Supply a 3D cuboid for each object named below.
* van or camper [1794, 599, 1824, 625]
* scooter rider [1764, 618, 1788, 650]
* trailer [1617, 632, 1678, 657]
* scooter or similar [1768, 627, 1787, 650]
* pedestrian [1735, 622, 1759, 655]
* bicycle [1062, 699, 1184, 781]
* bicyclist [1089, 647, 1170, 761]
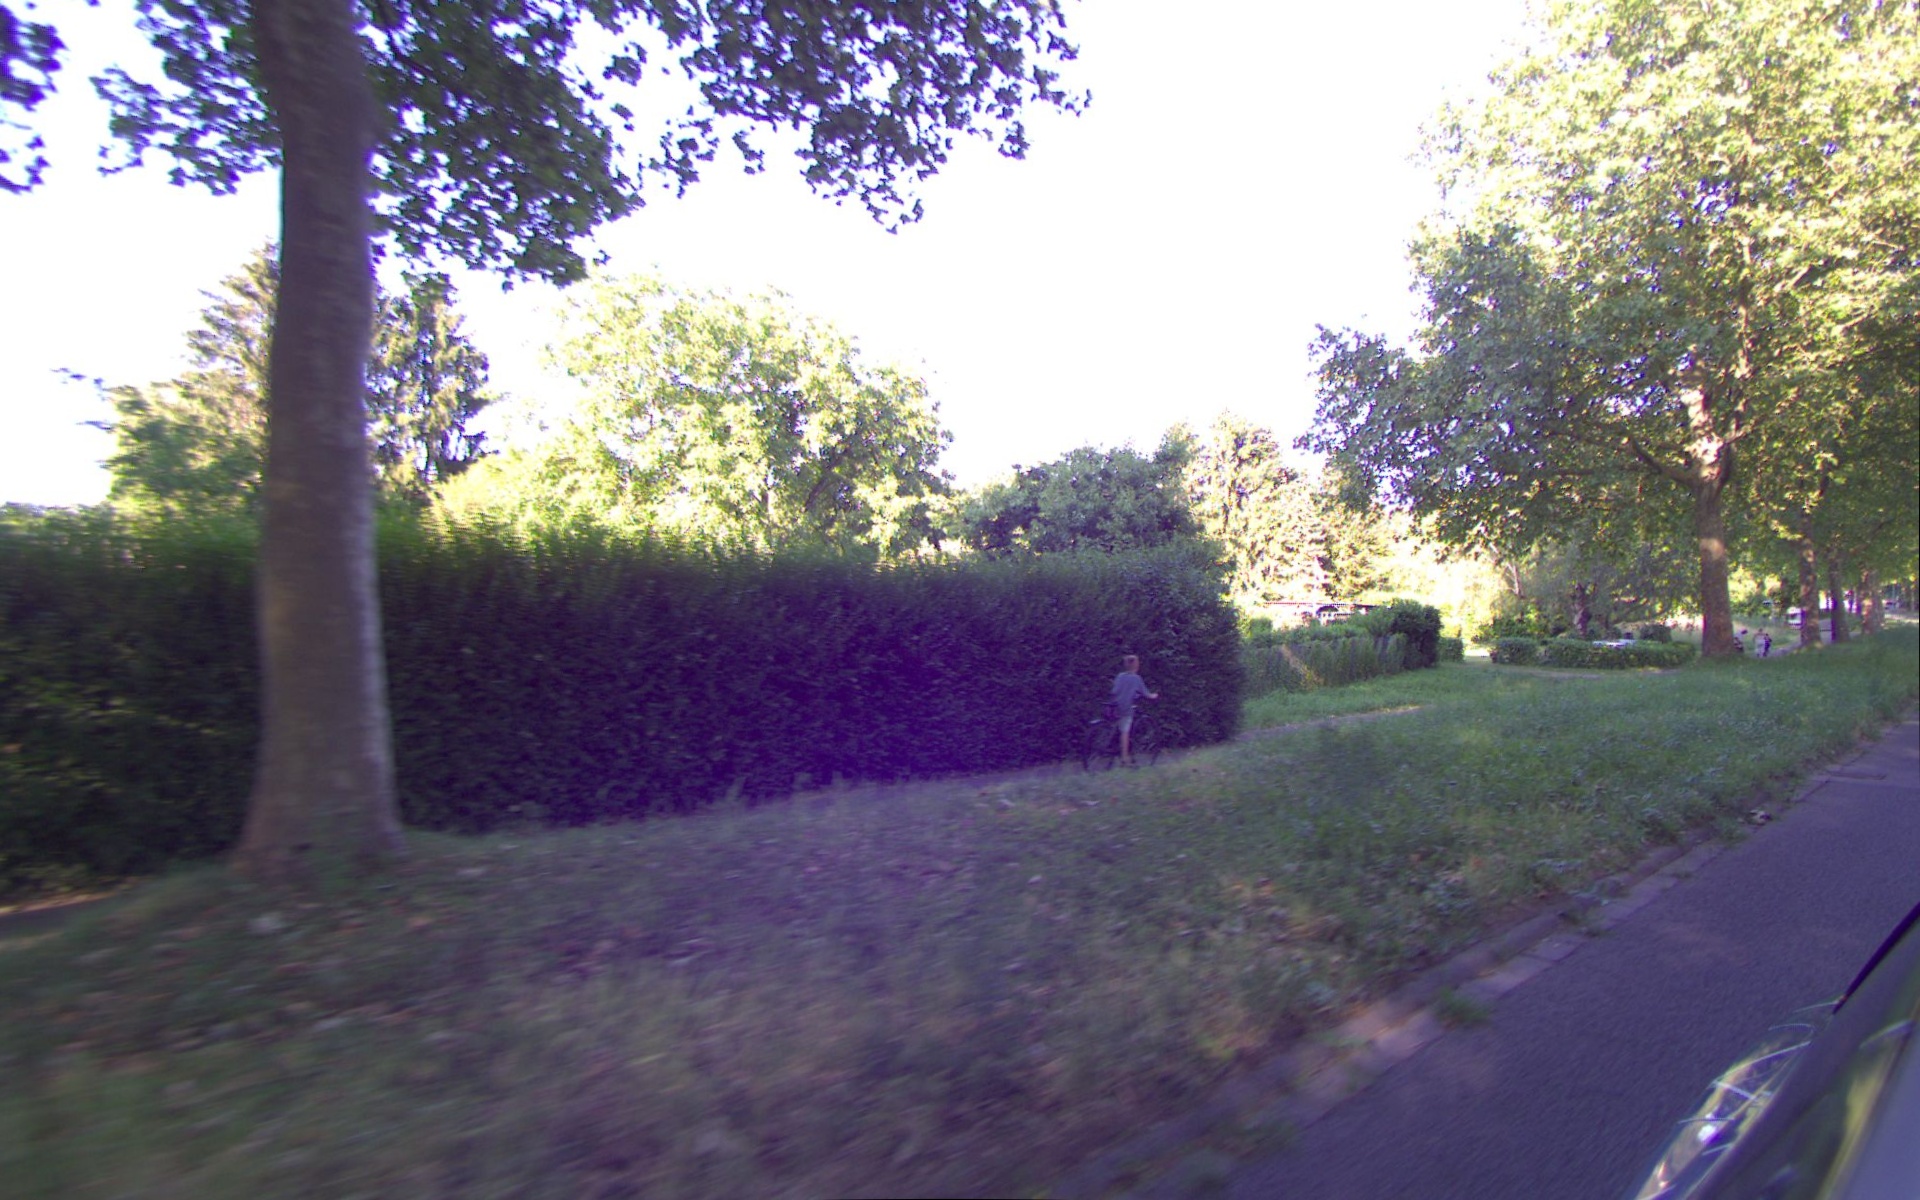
[{"bbox_3d":[94.539,1.319,112.645,2.378,2.835,5.600,-1,0,41],"label":"van or camper"},{"bbox_3d":[42.122,1.741,52.257,0.829,1.596,0.784,0,0,-38],"label":"scooter rider"},{"bbox_3d":[32.382,2.095,47.701,1.179,1.066,2.122,0,0,-39],"label":"trailer"},{"bbox_3d":[42.306,1.992,52.379,1.569,1.149,0.341,-1,0,-35],"label":"scooter or similar"},{"bbox_3d":[38.651,1.873,49.736,0.839,1.596,0.775,-1,0,33],"label":"pedestrian"},{"bbox_3d":[2.160,1.794,13.240,1.857,0.827,0.553,-1,0,-43],"label":"bicycle"},{"bbox_3d":[2.231,1.341,13.296,0.758,1.383,0.734,0,0,-43],"label":"bicyclist"}]
